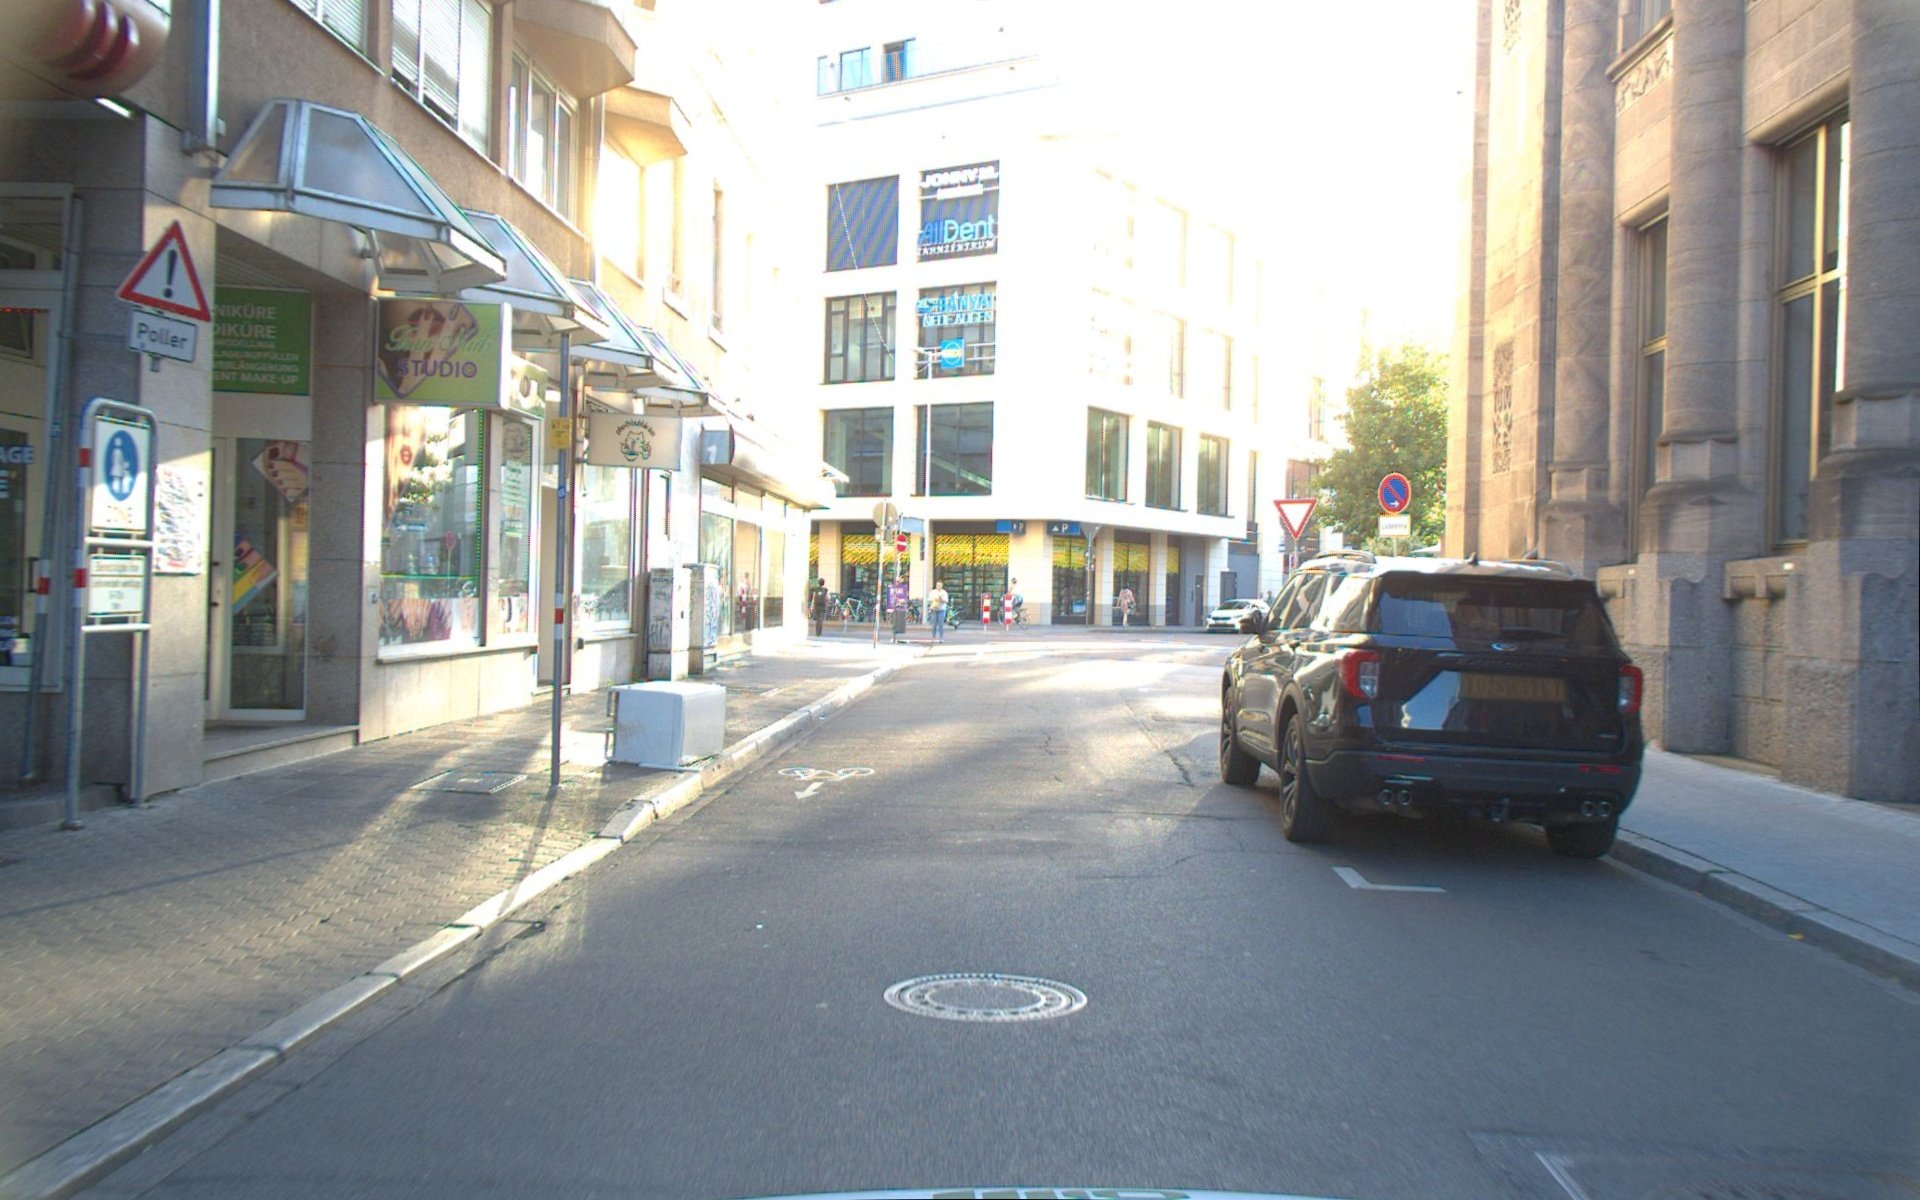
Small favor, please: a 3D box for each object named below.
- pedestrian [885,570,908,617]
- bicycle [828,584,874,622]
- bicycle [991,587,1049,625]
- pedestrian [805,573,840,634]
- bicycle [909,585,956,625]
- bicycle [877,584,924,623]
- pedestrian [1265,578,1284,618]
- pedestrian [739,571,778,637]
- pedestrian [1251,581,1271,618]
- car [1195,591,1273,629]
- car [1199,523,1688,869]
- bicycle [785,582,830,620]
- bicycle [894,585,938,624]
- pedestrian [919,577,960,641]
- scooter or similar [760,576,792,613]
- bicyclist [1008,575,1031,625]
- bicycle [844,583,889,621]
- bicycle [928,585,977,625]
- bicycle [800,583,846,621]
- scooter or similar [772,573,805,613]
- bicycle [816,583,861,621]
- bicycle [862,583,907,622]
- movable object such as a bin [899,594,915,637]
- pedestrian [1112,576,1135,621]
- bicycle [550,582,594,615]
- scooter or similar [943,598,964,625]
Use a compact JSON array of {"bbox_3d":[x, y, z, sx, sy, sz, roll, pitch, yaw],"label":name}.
[{"bbox_3d":[-2.418,-0.254,62.911,0.626,1.753,0.840,1,0,-22],"label":"pedestrian"},{"bbox_3d":[-3.766,0.110,57.314,0.502,1.277,1.974,2,0,31],"label":"bicycle"},{"bbox_3d":[2.105,0.217,58.169,1.931,1.277,0.613,2,0,15],"label":"bicycle"},{"bbox_3d":[-3.892,0.104,46.864,0.855,1.687,0.616,2,0,-16],"label":"pedestrian"},{"bbox_3d":[-0.913,0.175,55.496,0.570,1.277,2.040,2,0,29],"label":"bicycle"},{"bbox_3d":[-1.998,0.127,56.089,0.503,1.277,1.973,2,0,33],"label":"bicycle"},{"bbox_3d":[14.679,-0.088,77.125,0.659,1.868,0.646,2,0,31],"label":"pedestrian"},{"bbox_3d":[-5.156,0.097,42.337,0.716,1.641,0.805,1,0,13],"label":"pedestrian"},{"bbox_3d":[14.107,-0.039,77.501,0.659,1.704,0.646,2,0,31],"label":"pedestrian"},{"bbox_3d":[11.504,0.408,69.223,1.745,1.478,4.220,2,0,31],"label":"car"},{"bbox_3d":[2.966,0.493,11.398,1.952,1.814,4.935,2,1,1],"label":"car"},{"bbox_3d":[-5.382,0.051,58.521,0.502,1.277,1.974,2,0,31],"label":"bicycle"},{"bbox_3d":[-1.472,0.155,55.779,0.502,1.277,1.975,2,0,29],"label":"bicycle"},{"bbox_3d":[-0.535,0.229,43.224,0.793,1.641,0.728,1,0,-27],"label":"pedestrian"},{"bbox_3d":[-6.252,-0.173,56.233,0.379,1.233,1.268,2,0,31],"label":"scooter or similar"},{"bbox_3d":[2.081,0.007,58.168,0.628,1.725,0.685,2,0,15],"label":"bicyclist"},{"bbox_3d":[-3.208,0.083,57.007,0.502,1.277,1.975,2,0,30],"label":"bicycle"},{"bbox_3d":[-0.244,0.171,55.148,0.651,1.277,2.137,2,0,29],"label":"bicycle"},{"bbox_3d":[-4.795,0.072,58.047,0.502,1.277,1.974,2,0,31],"label":"bicycle"},{"bbox_3d":[-5.802,-0.231,55.867,0.379,1.282,1.268,2,0,31],"label":"scooter or similar"},{"bbox_3d":[-4.220,0.093,57.643,0.502,1.277,1.974,2,0,31],"label":"bicycle"},{"bbox_3d":[-2.574,0.097,56.566,0.502,1.277,1.974,2,0,31],"label":"bicycle"},{"bbox_3d":[-1.368,0.396,42.330,0.352,1.082,0.355,1,0,-8],"label":"movable object such as a bin"},{"bbox_3d":[6.454,-0.058,65.330,0.660,1.775,0.645,1,0,33],"label":"pedestrian"},{"bbox_3d":[-15.974,-0.059,68.061,1.936,1.277,0.512,2,0,31],"label":"bicycle"},{"bbox_3d":[-0.221,0.384,56.756,0.379,0.899,0.768,2,0,31],"label":"scooter or similar"}]
